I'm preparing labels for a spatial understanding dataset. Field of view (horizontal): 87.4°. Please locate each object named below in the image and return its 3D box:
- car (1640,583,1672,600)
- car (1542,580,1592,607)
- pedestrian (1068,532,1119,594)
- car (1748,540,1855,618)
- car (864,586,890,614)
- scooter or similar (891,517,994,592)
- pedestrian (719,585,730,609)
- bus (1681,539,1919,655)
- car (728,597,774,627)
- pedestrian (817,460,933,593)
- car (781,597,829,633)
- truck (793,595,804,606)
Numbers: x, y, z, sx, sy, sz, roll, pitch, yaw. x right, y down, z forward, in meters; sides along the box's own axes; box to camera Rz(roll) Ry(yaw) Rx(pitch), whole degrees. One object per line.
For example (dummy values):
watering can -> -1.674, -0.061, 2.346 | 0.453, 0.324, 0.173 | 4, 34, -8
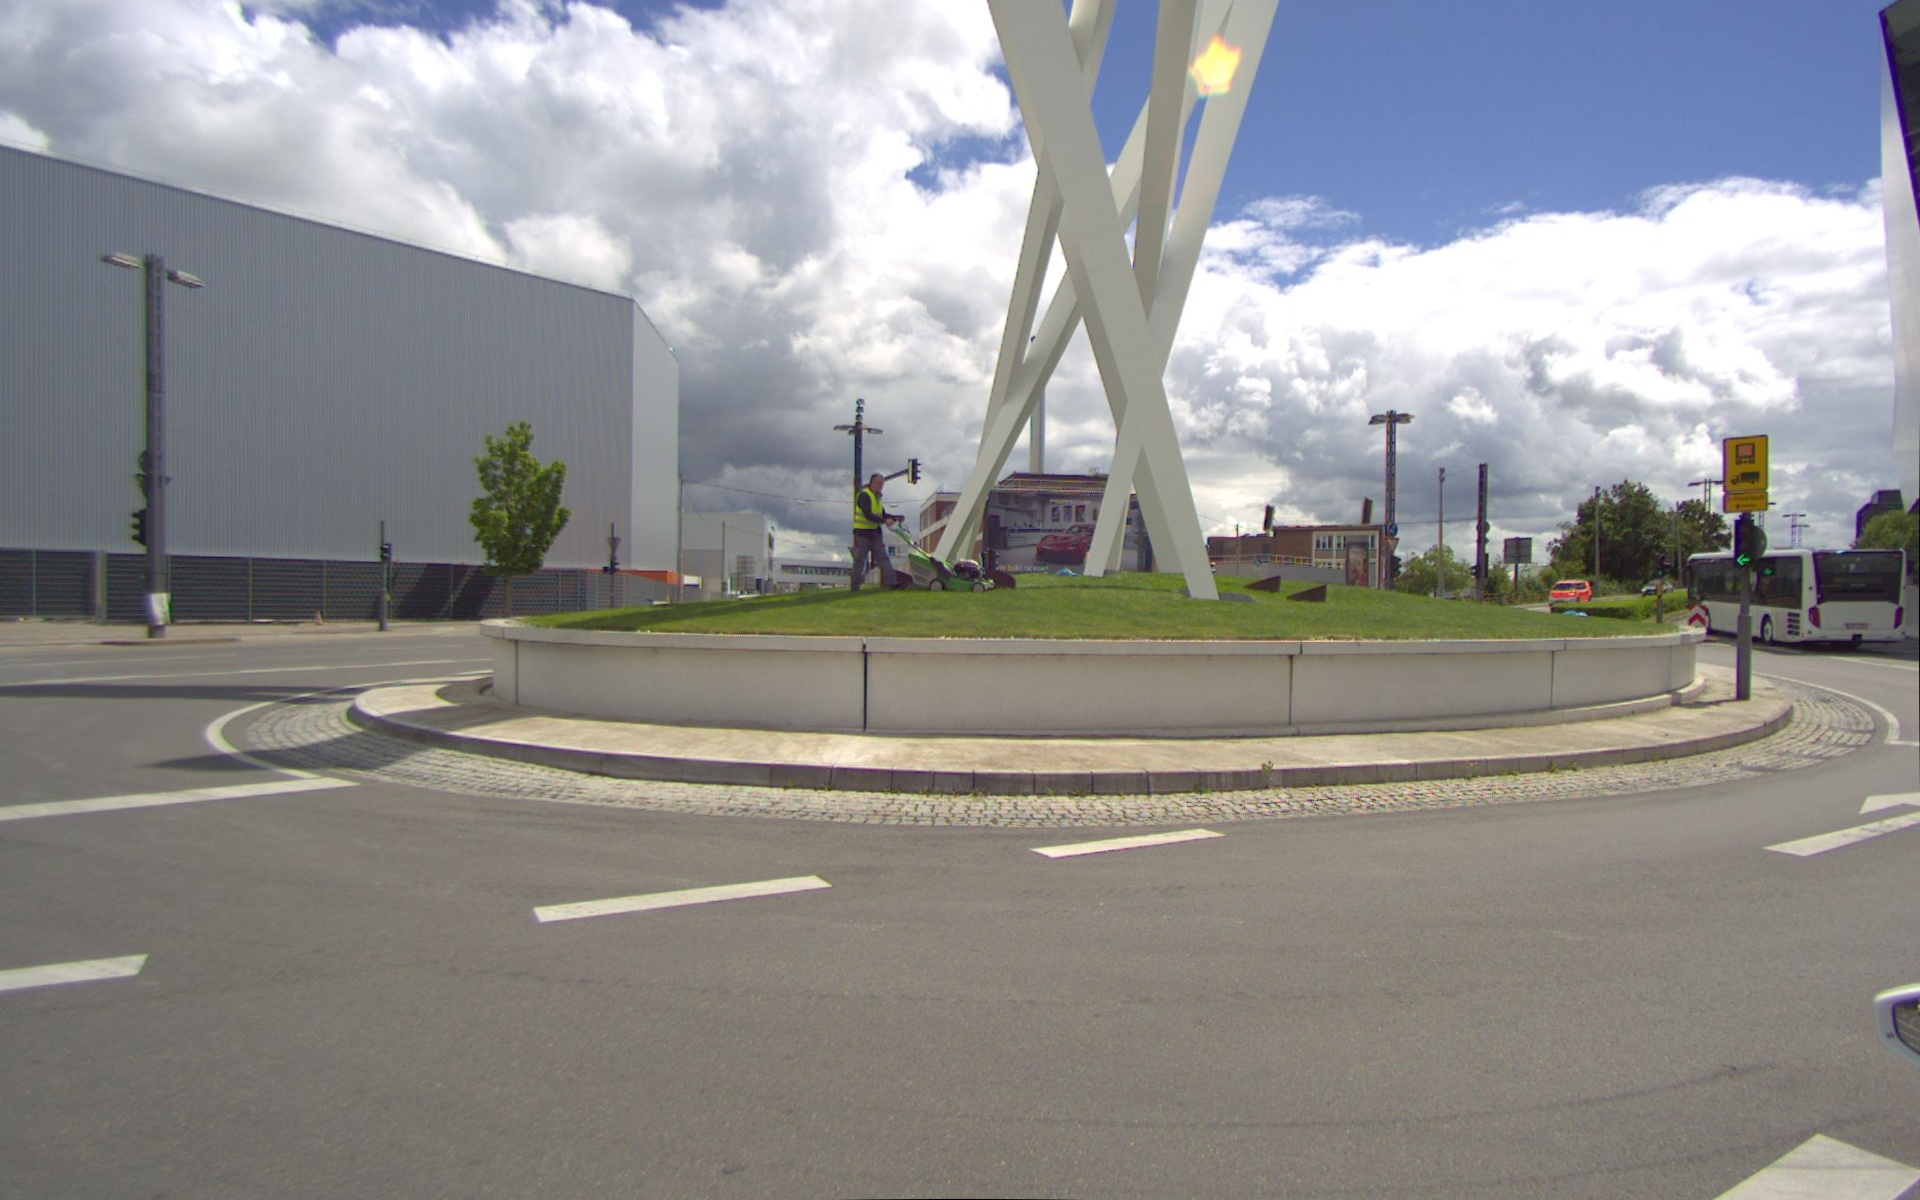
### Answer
car -> 65.324, -0.797, 94.242 | 1.736, 1.417, 4.644 | 3, 4, 44
car -> 46.526, -0.504, 76.912 | 4.800, 2.010, 1.975 | 0, 0, -42
pedestrian -> 3.353, -0.915, 25.291 | 0.952, 1.424, 0.851 | 2, -6, -24
car -> 42.923, -0.959, 51.540 | 3.291, 3.550, 9.311 | 3, 0, 35
car -> -7.070, 0.001, 85.592 | 1.961, 2.199, 4.653 | 3, 0, -3
scooter or similar -> -0.253, -0.672, 14.519 | 1.378, 1.040, 0.549 | 2, 6, 25
pedestrian -> -18.161, -0.257, 77.541 | 0.737, 1.795, 0.824 | 3, 0, -10
bus -> 29.676, -0.221, 36.191 | 3.022, 3.407, 12.217 | 3, 2, 22
car -> -12.352, 0.692, 59.733 | 1.961, 1.645, 4.289 | 3, 0, -3
pedestrian -> -1.240, -1.086, 14.848 | 1.262, 1.842, 0.985 | -1, 7, 28
car -> -8.497, 0.780, 55.444 | 1.874, 1.820, 3.776 | 3, 0, 1
truck -> -39.921, 0.116, 248.368 | 2.308, 2.574, 7.263 | 3, 0, -12
